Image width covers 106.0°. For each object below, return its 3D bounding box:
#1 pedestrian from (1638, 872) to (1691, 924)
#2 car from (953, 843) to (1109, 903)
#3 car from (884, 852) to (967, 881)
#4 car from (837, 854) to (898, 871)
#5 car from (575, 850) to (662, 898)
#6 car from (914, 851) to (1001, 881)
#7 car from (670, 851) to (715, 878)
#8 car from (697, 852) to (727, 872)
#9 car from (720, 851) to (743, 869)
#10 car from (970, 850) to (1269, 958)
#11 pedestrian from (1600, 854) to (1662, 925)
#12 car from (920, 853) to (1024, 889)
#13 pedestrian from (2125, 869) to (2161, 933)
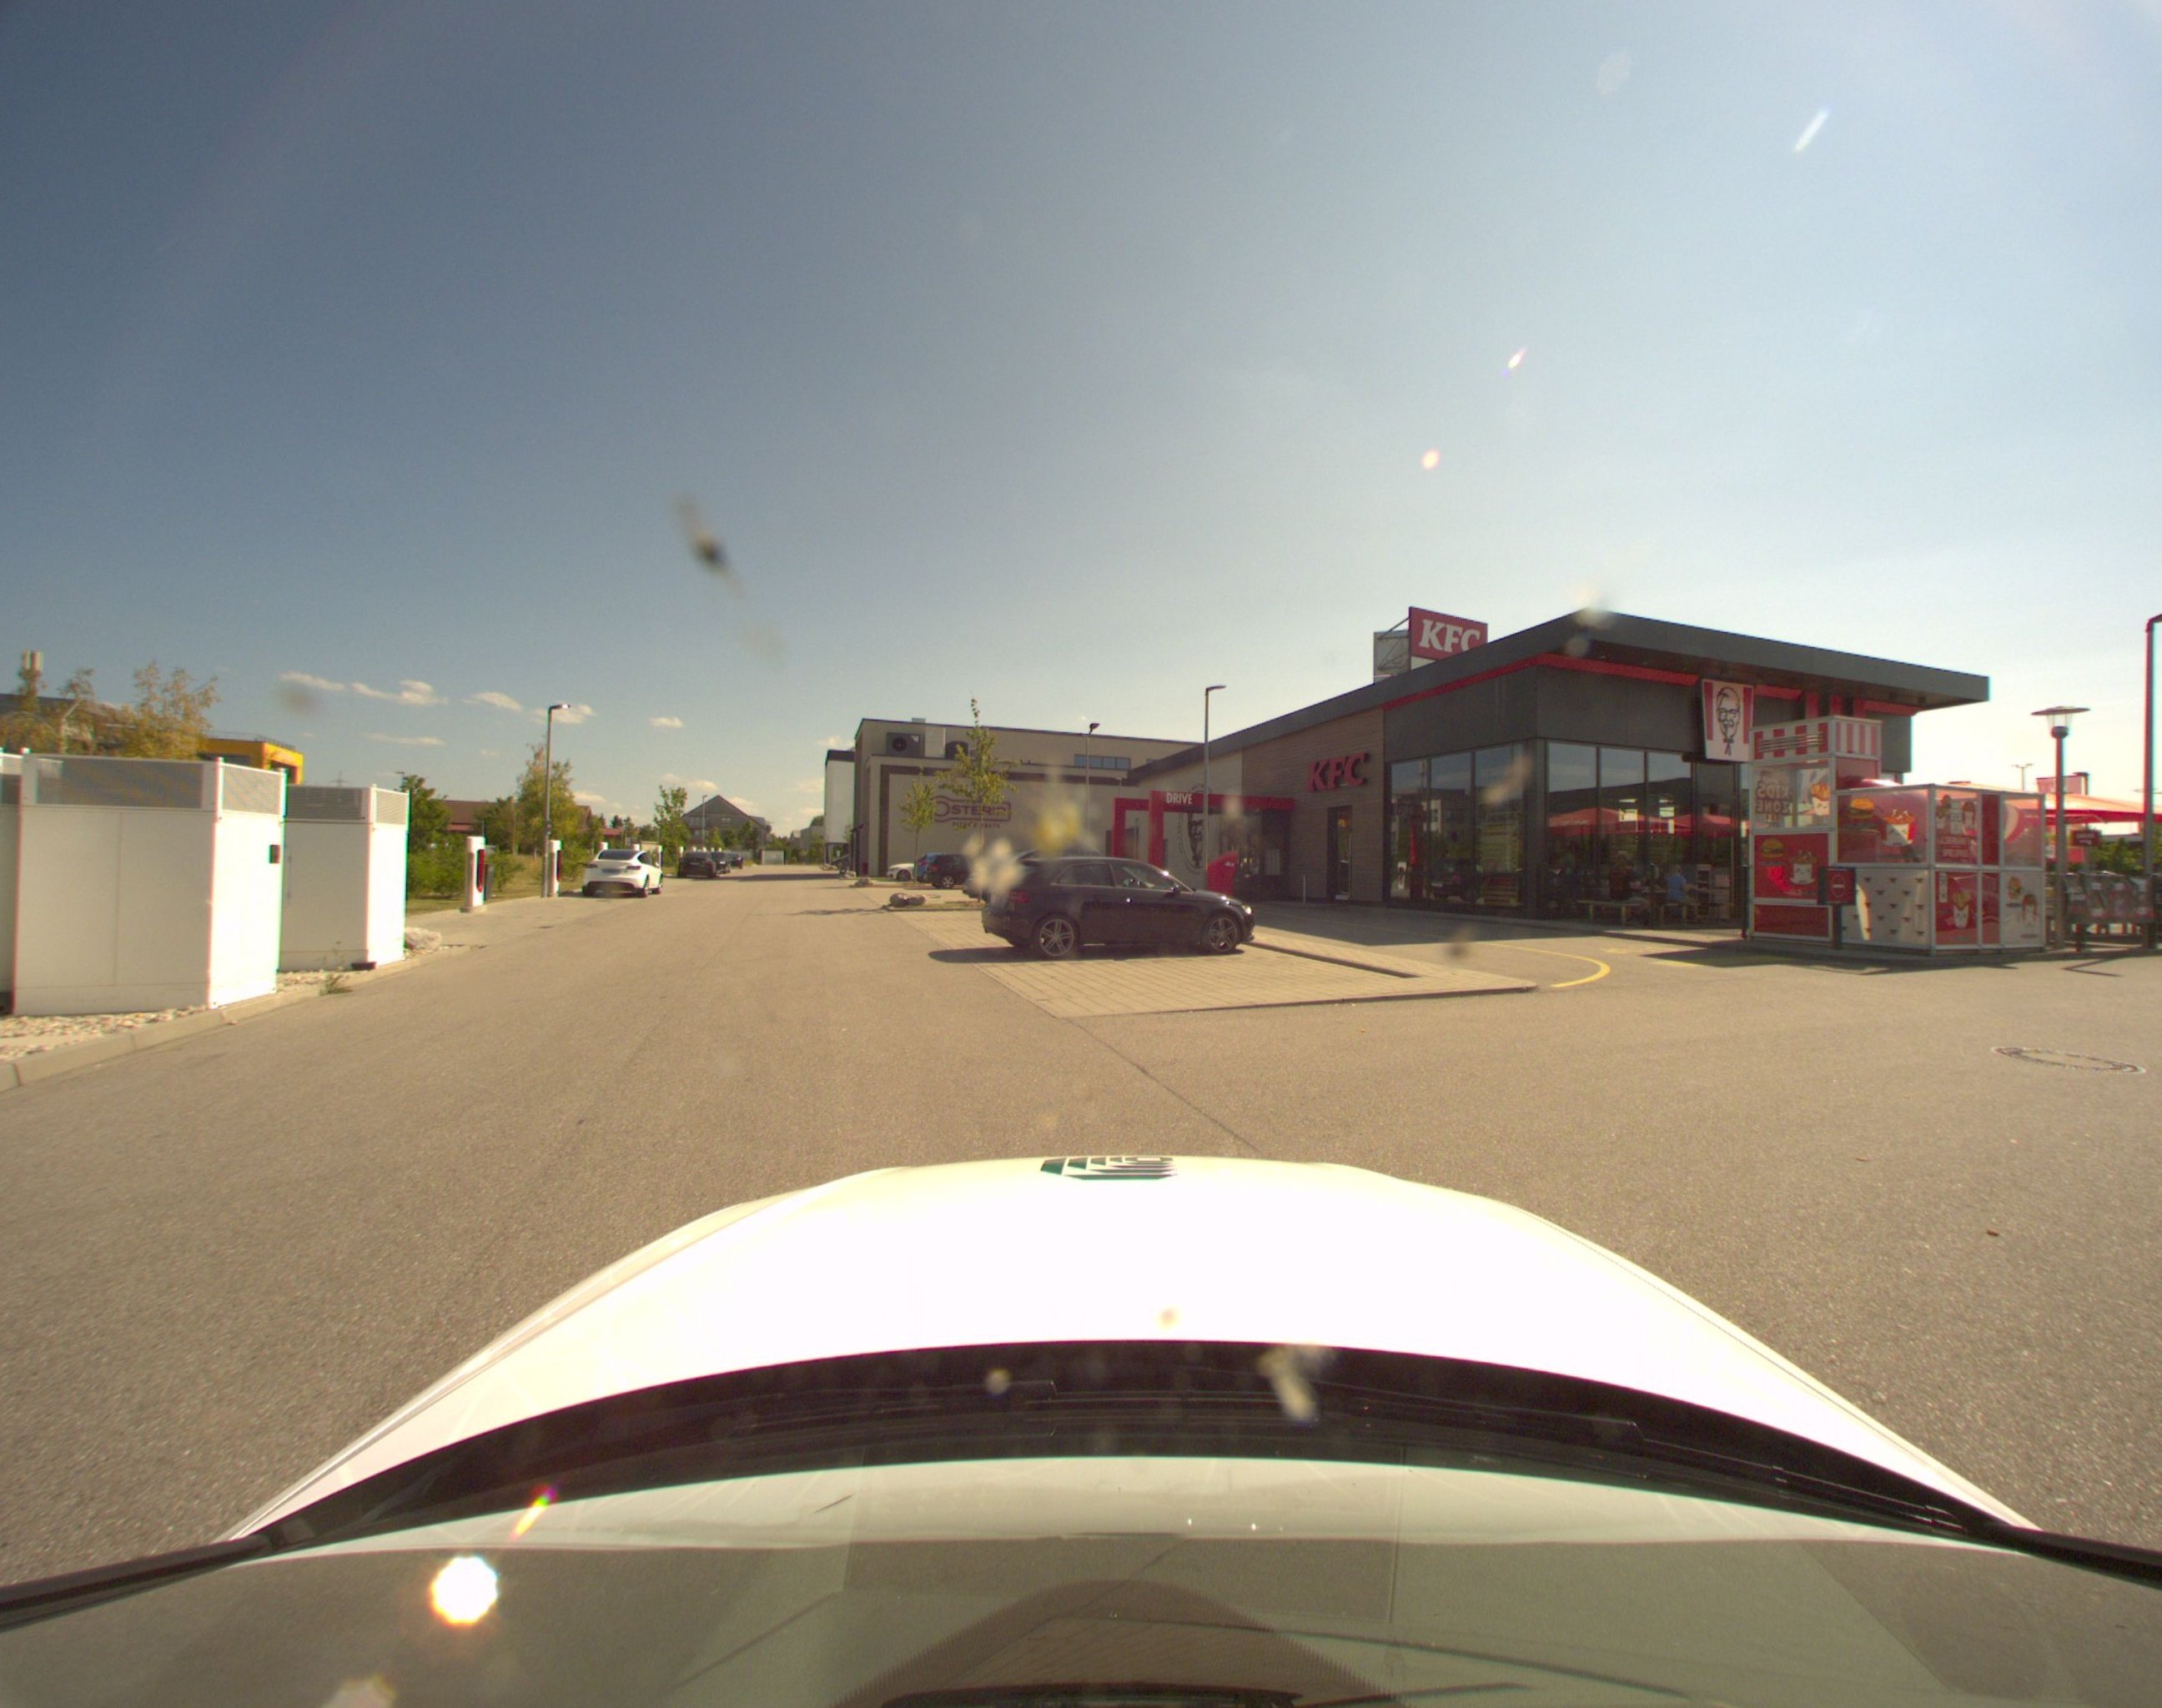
[{"bbox_3d":[12.384,0.920,17.289,0.718,1.071,0.624,1,0,-23],"label":"pedestrian"},{"bbox_3d":[-1.475,0.569,24.446,4.390,1.685,1.628,1,0,-25],"label":"car"},{"bbox_3d":[-8.166,0.654,42.770,4.004,1.420,1.638,1,0,-23],"label":"car"},{"bbox_3d":[-15.186,0.623,57.820,4.001,1.156,1.986,1,0,-21],"label":"car"},{"bbox_3d":[-16.167,0.674,28.670,1.951,1.568,3.974,1,0,-19],"label":"car"},{"bbox_3d":[-6.178,0.609,40.600,4.004,1.420,1.638,1,0,-23],"label":"car"},{"bbox_3d":[-23.157,0.602,48.678,1.951,1.568,3.973,1,0,-20],"label":"car"},{"bbox_3d":[-26.960,0.553,59.548,1.749,1.387,3.972,1,0,-21],"label":"car"},{"bbox_3d":[-32.493,0.538,75.850,1.749,1.568,3.972,1,0,-21],"label":"car"},{"bbox_3d":[0.584,0.708,12.380,4.215,1.441,1.687,1,0,-21],"label":"car"},{"bbox_3d":[11.545,0.725,17.094,0.800,1.435,0.767,1,0,-22],"label":"pedestrian"},{"bbox_3d":[-4.529,0.698,33.895,4.004,1.420,1.638,1,0,-23],"label":"car"},{"bbox_3d":[21.656,0.949,16.469,0.588,1.269,0.690,0,-1,45],"label":"pedestrian"}]
